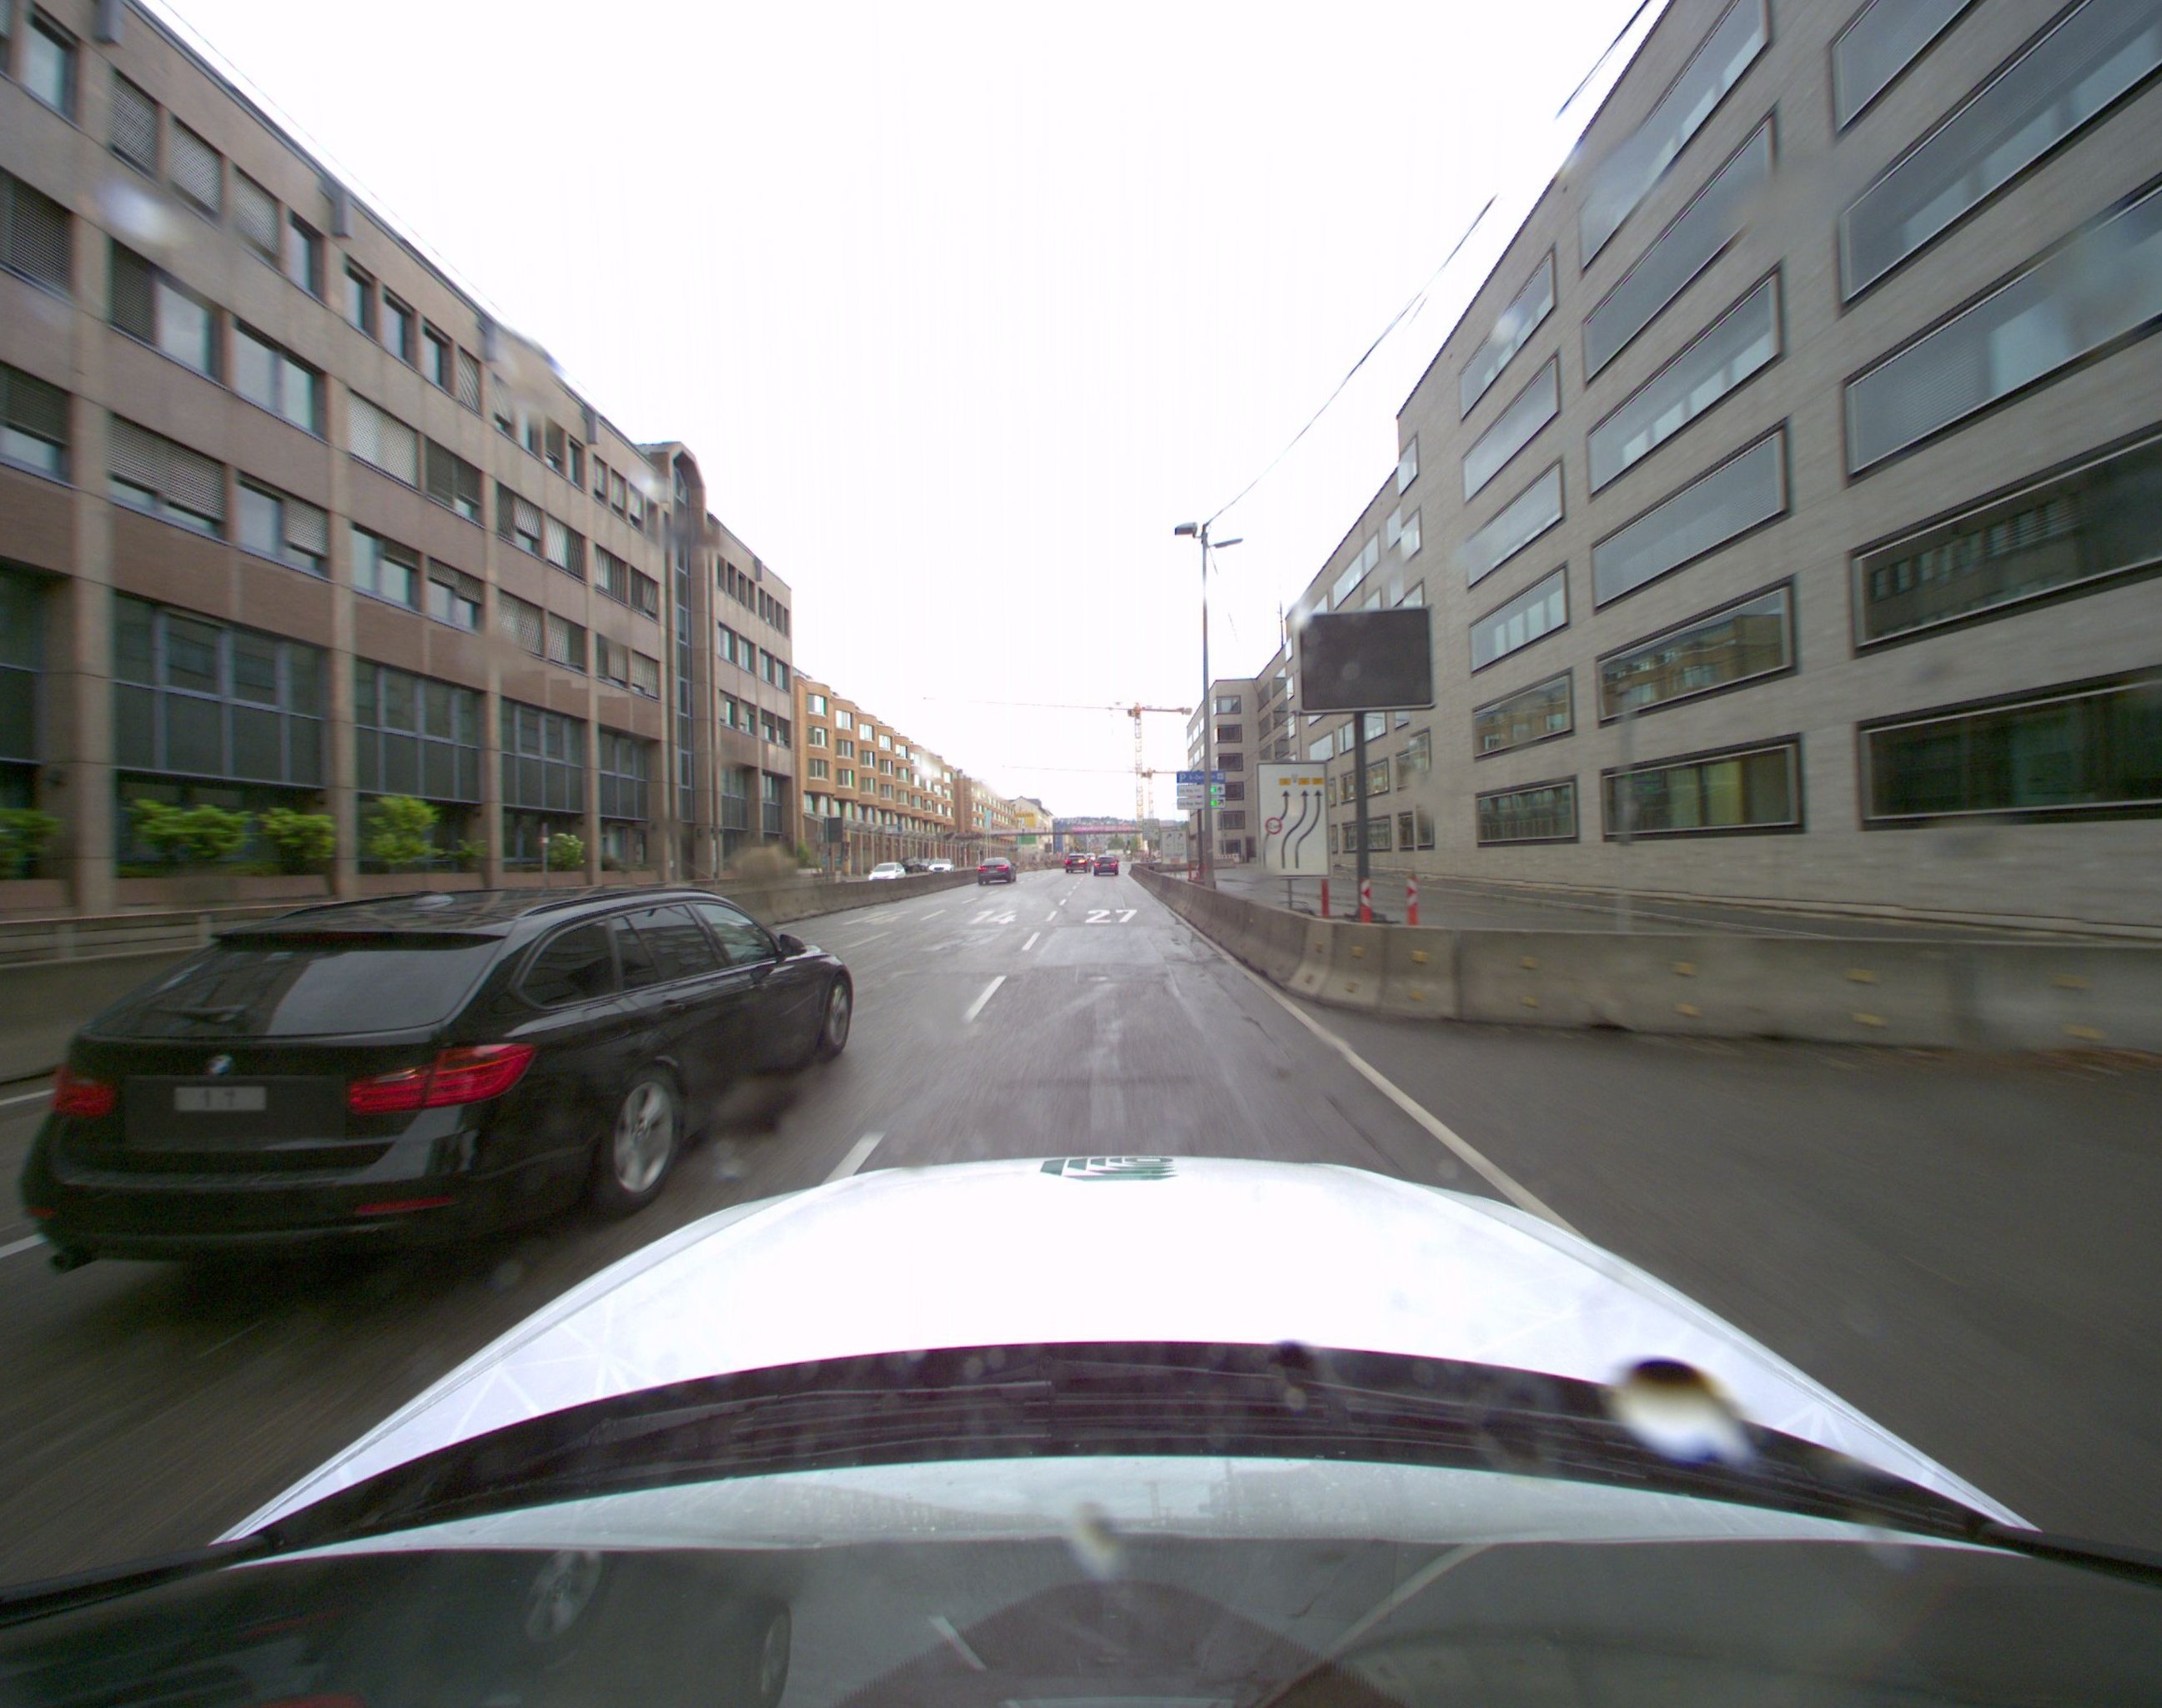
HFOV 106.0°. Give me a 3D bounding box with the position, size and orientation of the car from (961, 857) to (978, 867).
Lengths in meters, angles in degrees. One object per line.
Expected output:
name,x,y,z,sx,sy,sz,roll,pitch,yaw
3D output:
car,-18.610,1.333,135.622,1.986,1.620,4.692,-3,0,2

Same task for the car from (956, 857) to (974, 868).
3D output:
car,-18.500,1.287,129.653,1.986,1.620,4.692,-3,0,2

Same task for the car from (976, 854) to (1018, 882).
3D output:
car,-4.653,0.764,45.681,1.784,1.426,4.385,-3,0,1

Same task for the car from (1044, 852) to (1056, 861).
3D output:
car,-6.388,0.461,166.349,1.986,1.620,4.765,-3,0,2

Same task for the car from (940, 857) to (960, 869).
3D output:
car,-19.003,1.291,118.530,1.986,1.620,4.320,-3,0,2

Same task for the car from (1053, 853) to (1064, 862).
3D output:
car,-5.009,0.819,183.311,1.985,2.013,4.003,-3,0,3

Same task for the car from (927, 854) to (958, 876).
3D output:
car,-12.239,0.949,72.149,1.813,1.618,4.194,-3,1,2

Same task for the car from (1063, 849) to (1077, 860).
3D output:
car,-1.870,0.069,140.013,1.986,1.826,4.765,-3,0,2

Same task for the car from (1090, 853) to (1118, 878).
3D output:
car,1.797,0.838,61.489,1.892,1.693,4.004,-3,0,3

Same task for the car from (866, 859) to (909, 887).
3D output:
car,-11.757,1.114,49.726,1.596,1.442,3.659,-3,1,2

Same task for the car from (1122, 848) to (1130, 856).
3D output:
car,10.962,-0.506,198.910,1.891,1.693,4.005,-3,0,5

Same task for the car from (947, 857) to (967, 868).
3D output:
car,-18.823,1.296,123.768,1.986,1.620,4.692,-3,0,2

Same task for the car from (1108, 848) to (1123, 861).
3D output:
car,5.126,0.078,120.837,1.890,1.693,4.008,-3,0,7

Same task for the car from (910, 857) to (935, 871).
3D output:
car,-19.750,1.251,101.676,1.986,1.620,4.320,-3,0,2

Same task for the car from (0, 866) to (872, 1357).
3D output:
car,-2.784,0.829,4.815,1.785,1.426,4.614,-1,0,1

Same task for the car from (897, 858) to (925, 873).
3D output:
car,-19.666,1.332,94.371,1.986,1.620,4.765,-3,0,2

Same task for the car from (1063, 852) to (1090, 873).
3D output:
car,-0.362,0.758,71.605,1.891,1.693,4.005,-3,0,5

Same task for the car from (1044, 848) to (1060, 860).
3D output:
car,-4.181,-0.019,118.672,1.986,1.620,4.765,-3,0,2
